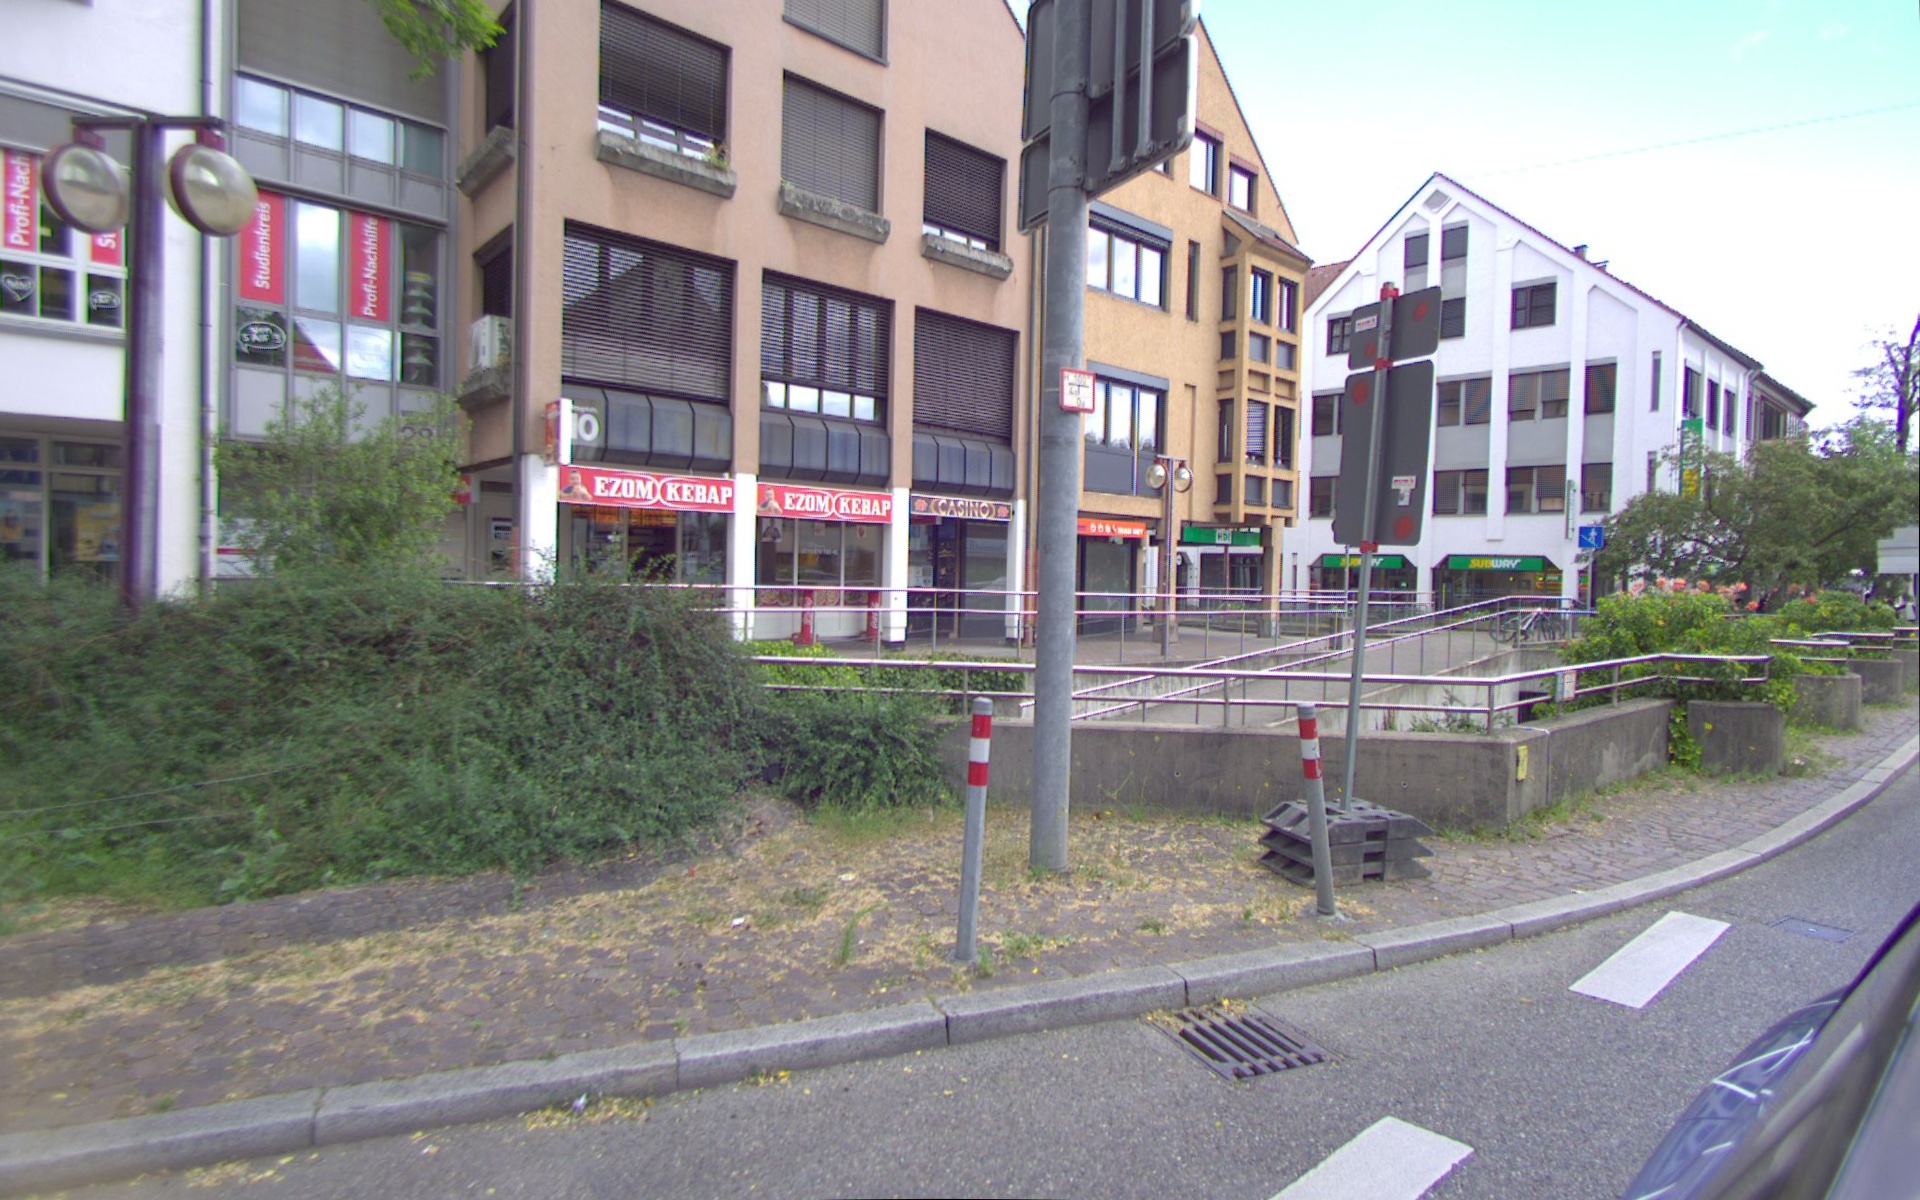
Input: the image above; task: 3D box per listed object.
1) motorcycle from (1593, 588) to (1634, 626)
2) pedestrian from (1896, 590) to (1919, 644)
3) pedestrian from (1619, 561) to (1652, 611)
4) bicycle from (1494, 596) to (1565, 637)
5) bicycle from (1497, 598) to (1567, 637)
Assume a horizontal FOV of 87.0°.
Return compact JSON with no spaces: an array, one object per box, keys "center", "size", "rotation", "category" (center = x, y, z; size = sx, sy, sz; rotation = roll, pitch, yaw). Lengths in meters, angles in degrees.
[{"center":[19.230,0.194,29.779],"size":[1.961,1.081,0.464],"rotation":[0,1,-41],"category":"motorcycle"},{"center":[28.415,0.496,30.176],"size":[0.672,1.597,0.653],"rotation":[1,1,-40],"category":"pedestrian"},{"center":[25.398,-0.508,38.047],"size":[0.772,1.846,0.869],"rotation":[0,0,-45],"category":"pedestrian"},{"center":[15.057,0.426,26.765],"size":[1.584,1.014,0.409],"rotation":[2,1,37],"category":"bicycle"},{"center":[15.514,0.467,27.462],"size":[1.583,0.981,0.455],"rotation":[2,1,36],"category":"bicycle"}]
